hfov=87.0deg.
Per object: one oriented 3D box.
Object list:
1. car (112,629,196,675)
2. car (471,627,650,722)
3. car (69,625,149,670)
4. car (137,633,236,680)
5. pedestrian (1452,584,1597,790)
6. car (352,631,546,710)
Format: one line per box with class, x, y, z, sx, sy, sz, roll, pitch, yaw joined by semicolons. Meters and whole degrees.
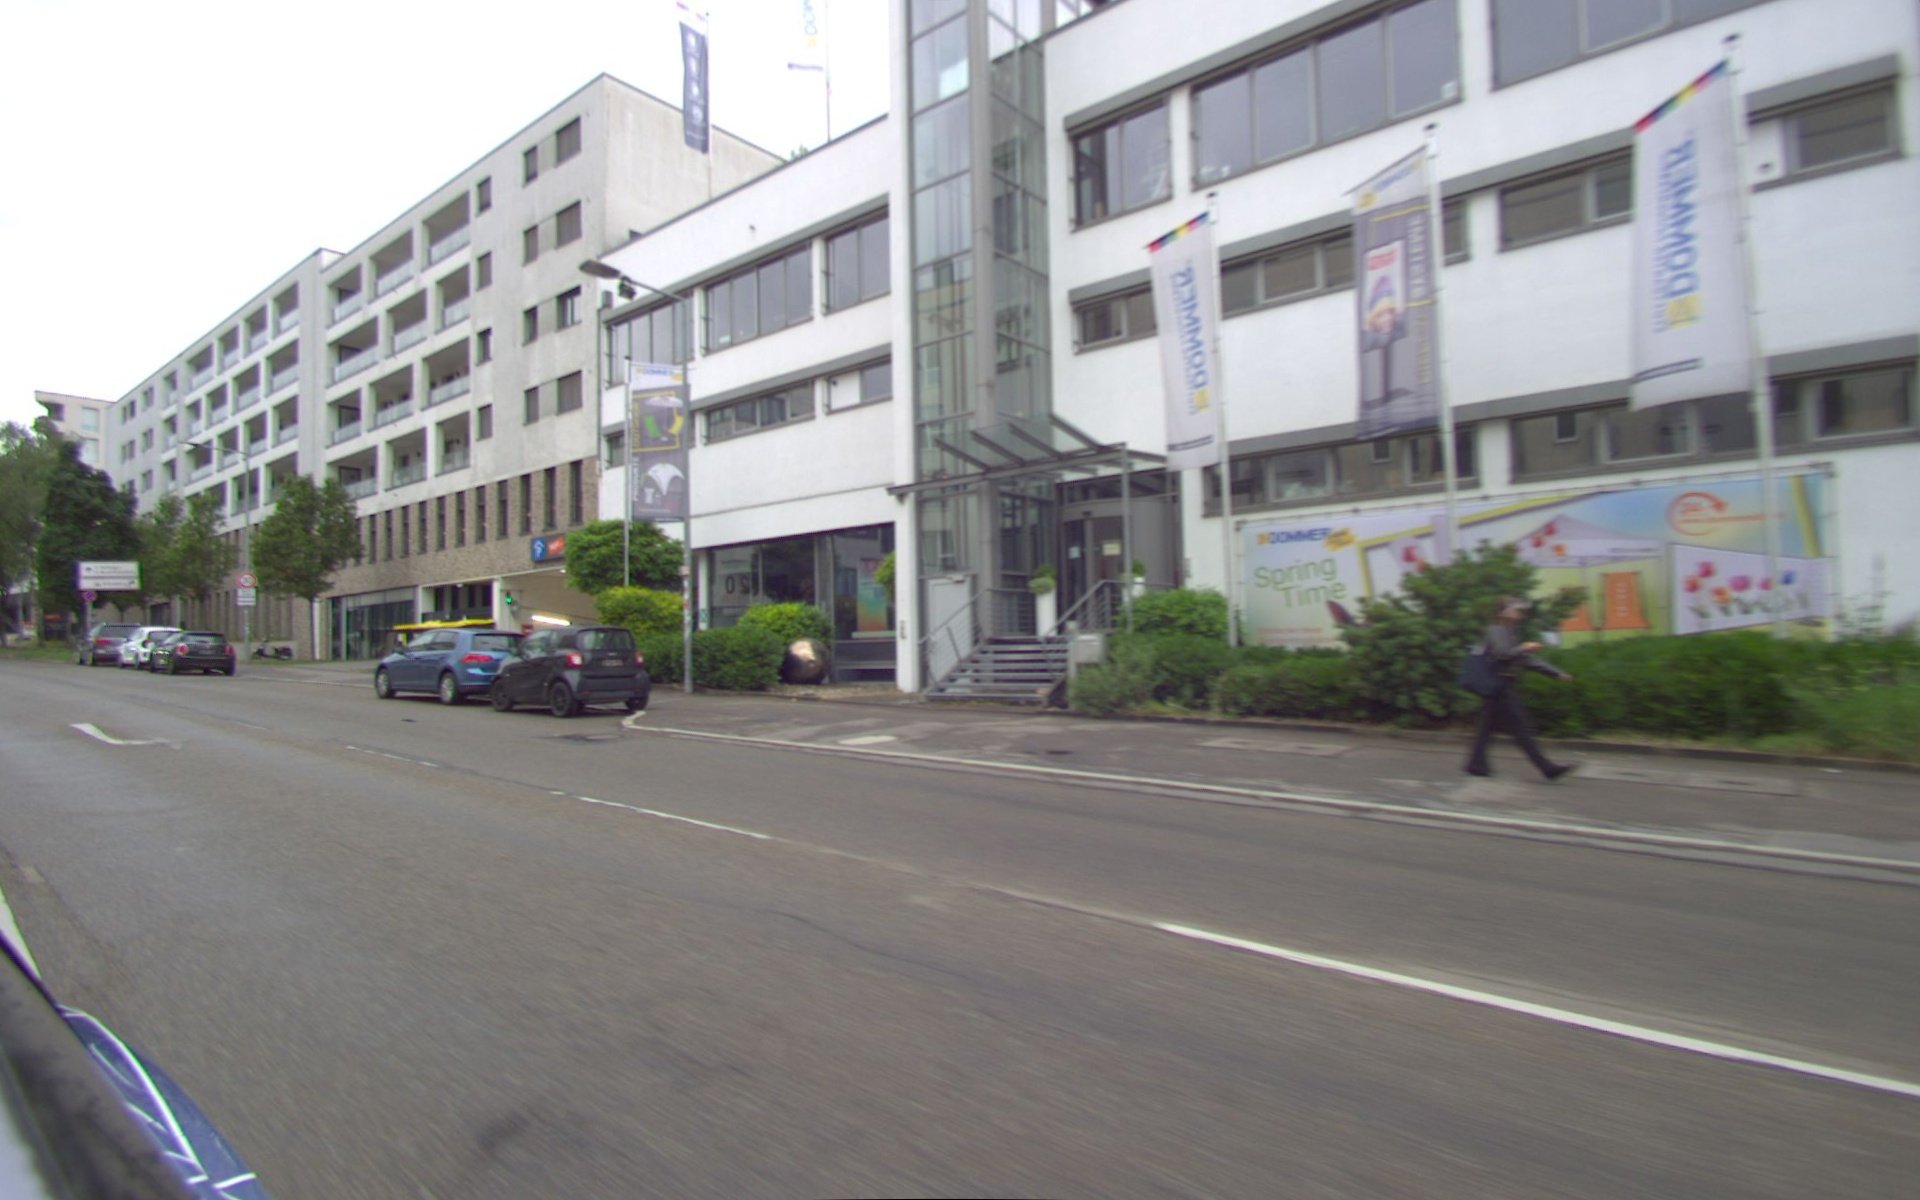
car;-28.671;1.834;35.972;3.418;1.479;1.577;-1;-4;39
car;-7.047;1.267;17.797;2.975;1.521;1.501;-1;-4;35
car;-32.855;1.835;39.031;3.969;1.630;1.609;-1;-5;40
car;-25.280;1.830;33.028;3.735;1.402;1.642;-1;-3;38
pedestrian;4.980;0.714;8.931;0.968;1.689;0.759;-1;0;41
car;-10.274;1.360;20.250;4.260;1.414;1.641;-1;-4;35
